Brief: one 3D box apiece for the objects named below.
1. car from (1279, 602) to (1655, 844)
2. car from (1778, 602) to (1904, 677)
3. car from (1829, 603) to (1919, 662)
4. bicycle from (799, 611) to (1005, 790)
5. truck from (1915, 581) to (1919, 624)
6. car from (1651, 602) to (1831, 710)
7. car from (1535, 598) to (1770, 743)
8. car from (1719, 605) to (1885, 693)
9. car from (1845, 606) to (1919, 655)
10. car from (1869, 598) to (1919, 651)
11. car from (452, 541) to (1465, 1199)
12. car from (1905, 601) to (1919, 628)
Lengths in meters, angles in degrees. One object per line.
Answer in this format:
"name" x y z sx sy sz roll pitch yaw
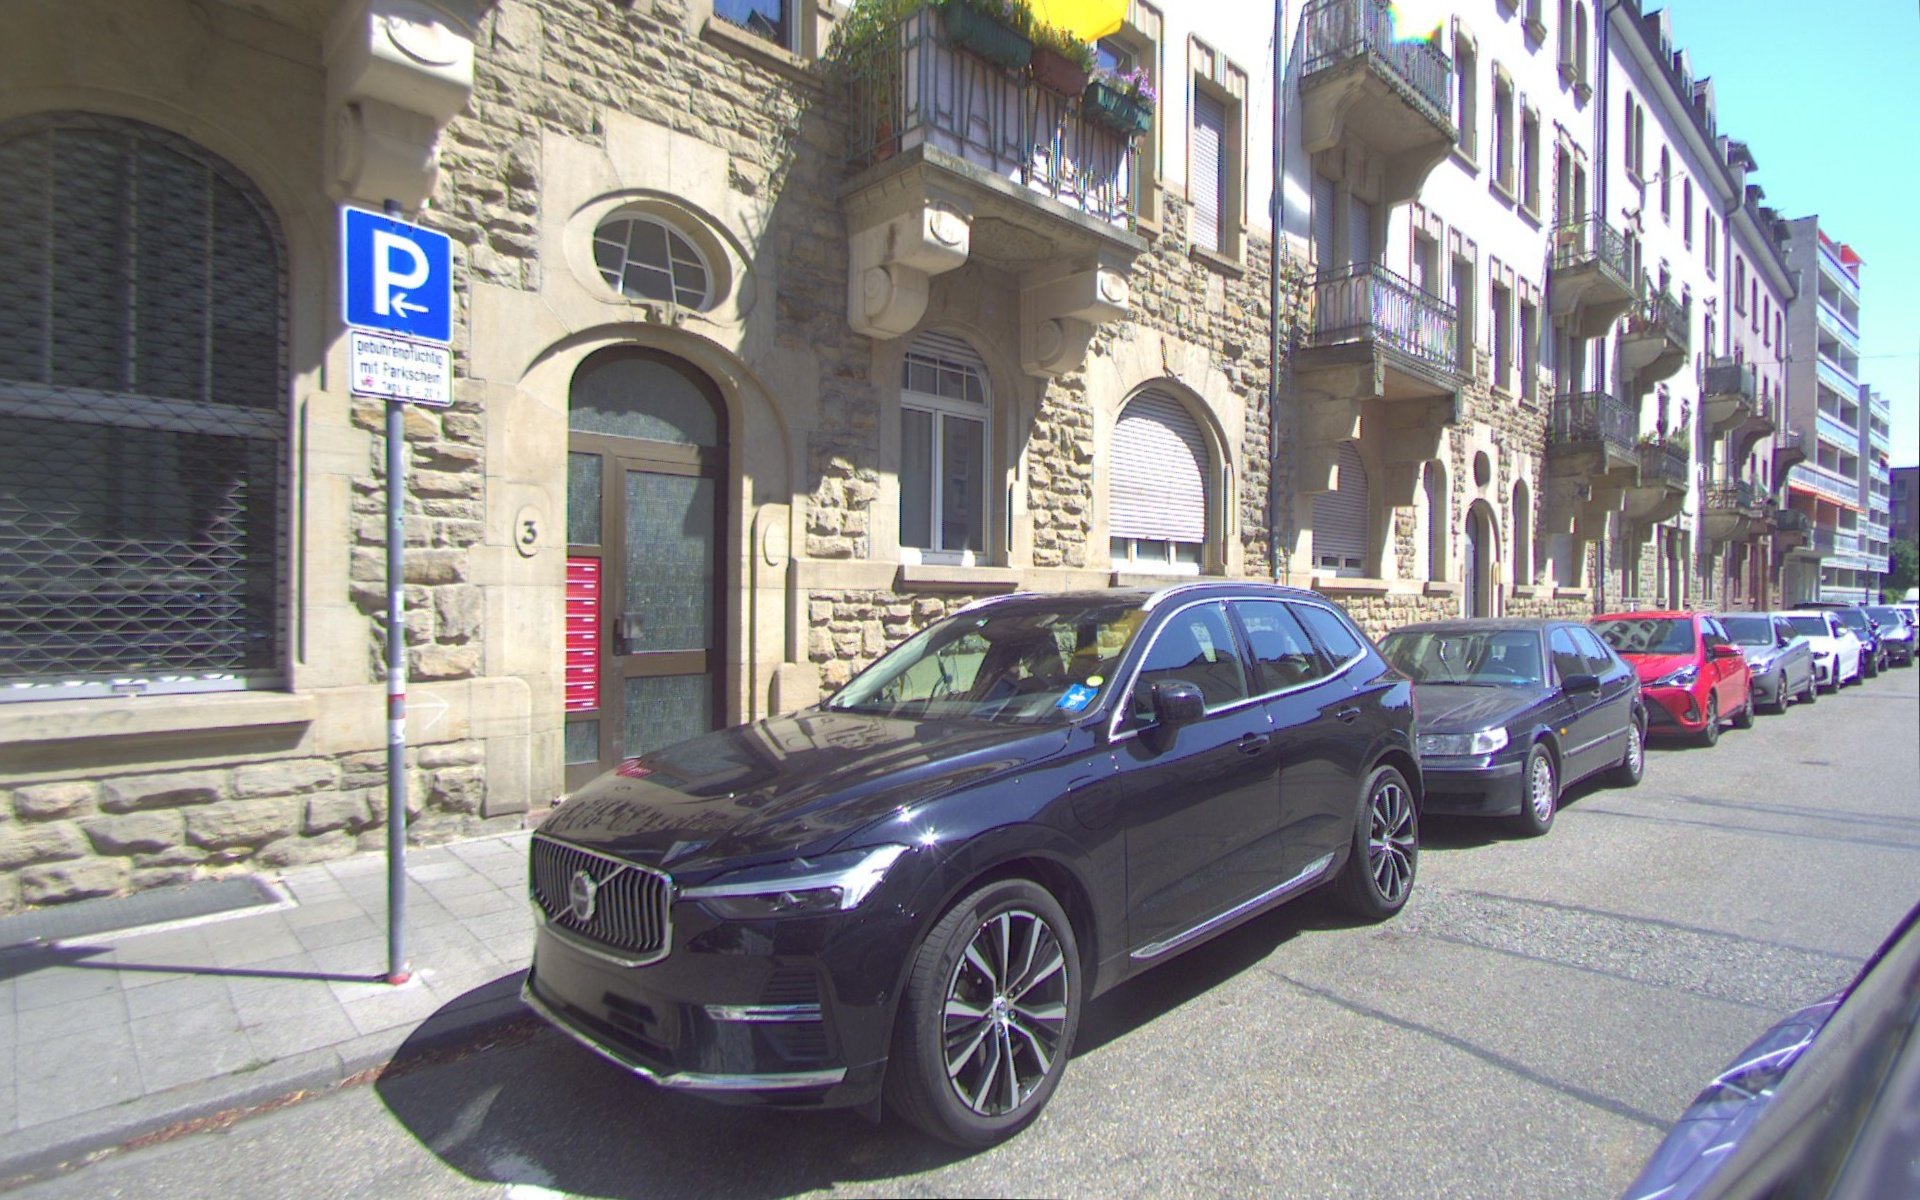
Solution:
"car" 4.140 0.747 7.945 1.512 1.417 3.909 -2 -1 44
"car" 20.138 0.815 23.067 4.590 1.476 1.738 0 1 -44
"car" 24.526 0.808 26.951 1.823 1.450 4.417 0 0 44
"bicycle" -0.406 0.716 7.854 1.745 1.223 0.385 0 1 -43
"truck" 64.326 0.147 66.574 4.432 2.765 1.867 0 1 -43
"car" 12.277 0.794 15.827 3.791 1.471 1.591 0 -1 -43
"car" 8.445 0.737 12.222 3.779 1.471 1.571 0 -1 -44
"car" 16.161 0.857 19.344 4.517 1.471 1.719 0 -1 -41
"car" 28.453 0.889 30.877 4.279 1.375 1.788 1 1 -43
"car" 32.191 0.788 34.131 4.018 1.642 1.652 0 1 -39
"car" 0.462 0.676 4.490 1.833 1.587 4.530 -2 -1 45
"car" 59.547 0.883 62.296 3.933 1.571 1.715 0 1 -43
